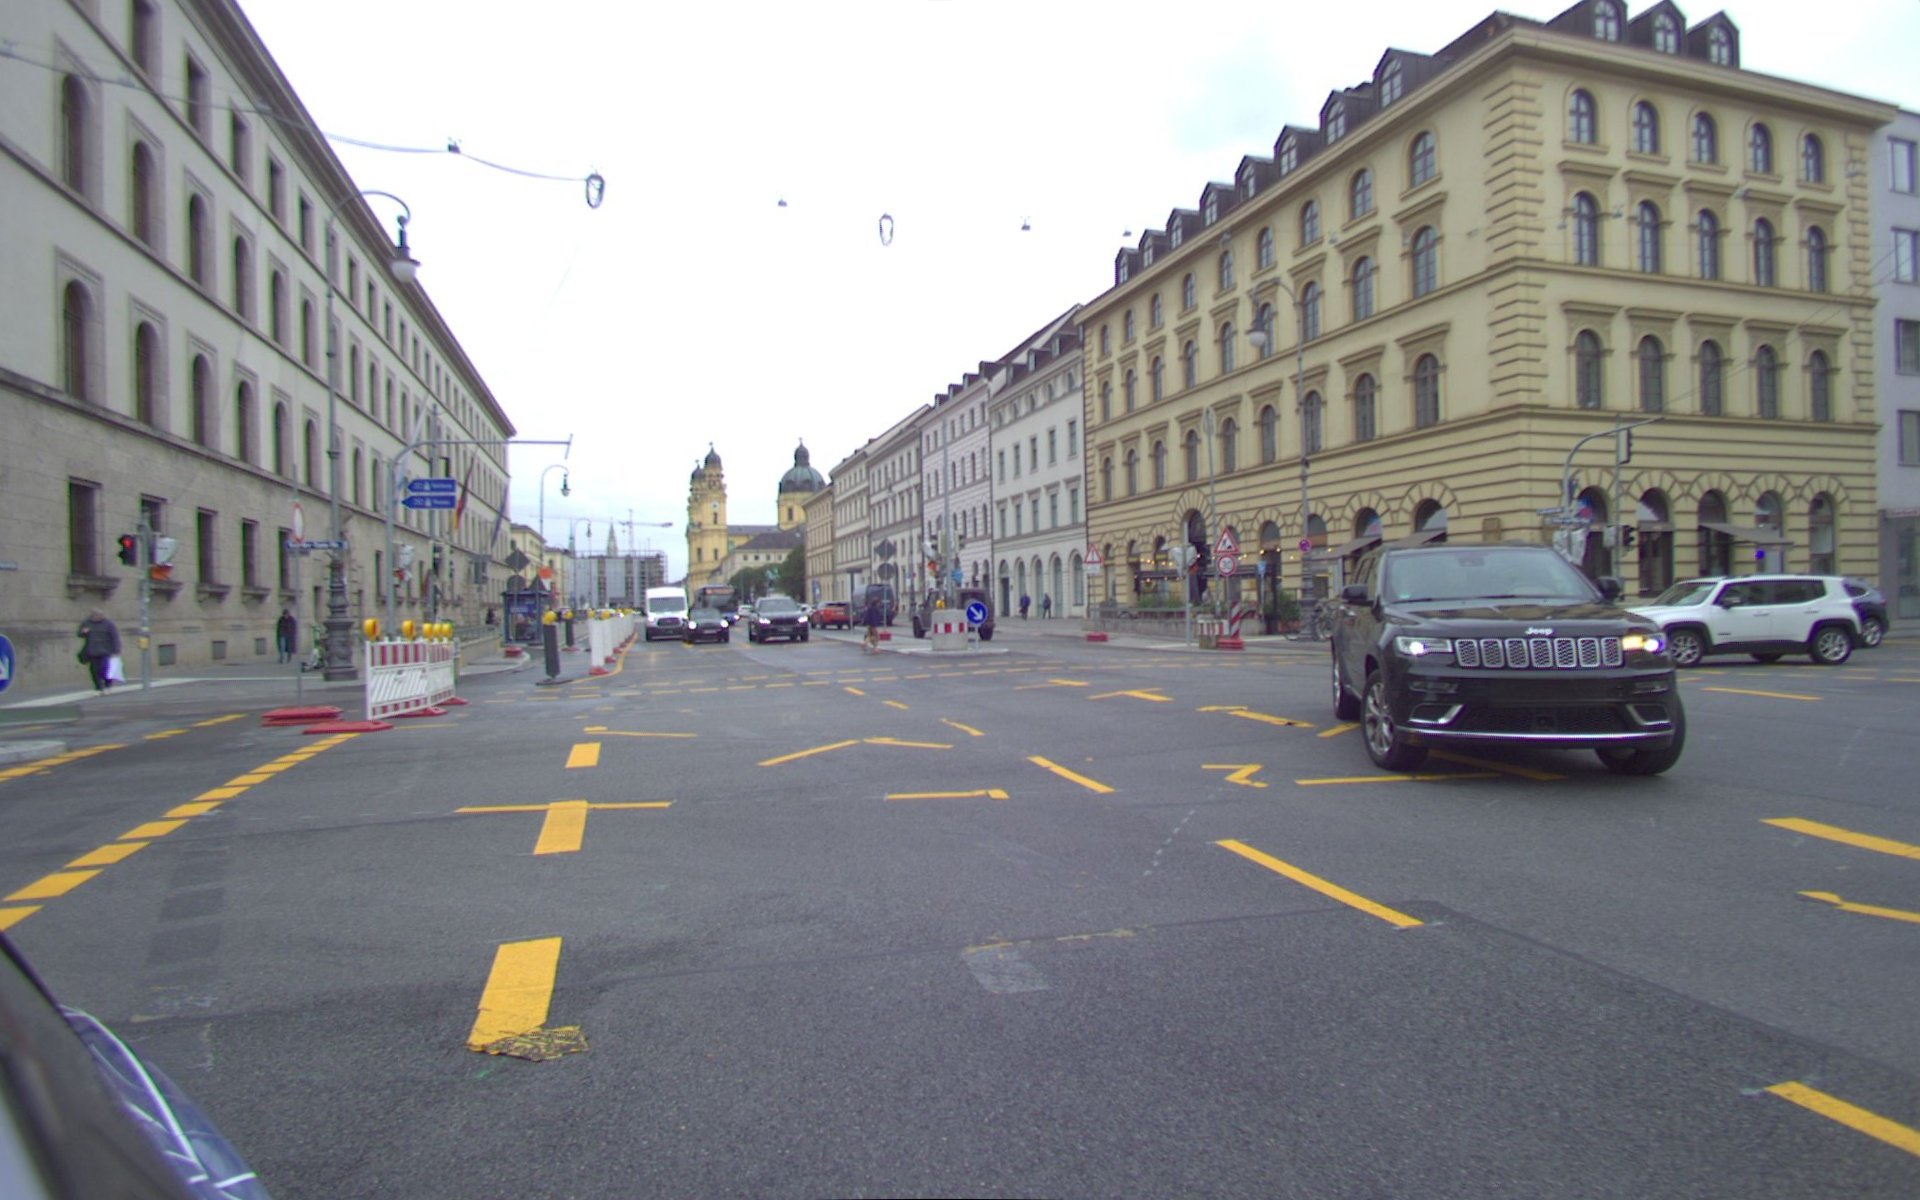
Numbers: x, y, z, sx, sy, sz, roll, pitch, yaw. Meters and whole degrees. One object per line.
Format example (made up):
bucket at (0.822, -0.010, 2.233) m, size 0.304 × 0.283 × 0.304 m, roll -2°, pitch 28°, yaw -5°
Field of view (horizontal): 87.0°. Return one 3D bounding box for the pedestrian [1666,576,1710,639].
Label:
pedestrian at (21.016, 0.202, 29.237) m, size 0.727 × 1.785 × 0.738 m, roll -1°, pitch 1°, yaw 6°

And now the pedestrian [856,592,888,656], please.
pedestrian at (-2.524, 0.685, 28.959) m, size 0.723 × 1.785 × 0.741 m, roll -2°, pitch 1°, yaw -18°

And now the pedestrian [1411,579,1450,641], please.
pedestrian at (13.910, 0.289, 29.906) m, size 0.726 × 1.785 × 0.738 m, roll -2°, pitch 1°, yaw -28°

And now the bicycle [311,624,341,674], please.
bicycle at (-17.352, 1.308, 27.721) m, size 0.375 × 1.252 × 1.996 m, roll -2°, pitch 1°, yaw -24°

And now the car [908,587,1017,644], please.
car at (0.035, 0.593, 38.913) m, size 2.207 × 2.029 × 4.463 m, roll -2°, pitch 0°, yaw -30°

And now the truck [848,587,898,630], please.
truck at (-5.877, 0.561, 67.837) m, size 2.184 × 2.683 × 4.798 m, roll -1°, pitch 0°, yaw -18°

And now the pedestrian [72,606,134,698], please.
pedestrian at (-16.081, 0.960, 19.006) m, size 0.726 × 1.667 × 0.729 m, roll 2°, pitch -1°, yaw -31°

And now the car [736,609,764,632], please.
car at (-17.374, 1.639, 83.625) m, size 1.836 × 1.812 × 3.764 m, roll -1°, pitch 0°, yaw -18°

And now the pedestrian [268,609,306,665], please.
pedestrian at (-20.379, 1.105, 30.644) m, size 0.726 × 1.667 × 0.729 m, roll 1°, pitch -1°, yaw -16°

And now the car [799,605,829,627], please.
car at (-12.258, 1.333, 84.971) m, size 1.792 × 1.733 × 4.012 m, roll -2°, pitch 0°, yaw -18°

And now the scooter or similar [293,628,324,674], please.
scooter or similar at (-17.739, 1.367, 27.585) m, size 0.375 × 1.153 × 1.996 m, roll -2°, pitch 1°, yaw -24°

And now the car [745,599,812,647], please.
car at (-7.145, 0.864, 39.548) m, size 1.966 × 1.696 × 4.012 m, roll -2°, pitch 0°, yaw -18°

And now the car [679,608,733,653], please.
car at (-10.545, 1.208, 41.786) m, size 1.770 × 1.606 × 4.013 m, roll -2°, pitch 1°, yaw -19°

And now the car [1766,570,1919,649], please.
car at (21.351, 0.177, 23.185) m, size 4.178 × 1.690 × 1.738 m, roll -2°, pitch 0°, yaw 4°

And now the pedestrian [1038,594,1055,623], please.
pedestrian at (5.368, 0.501, 62.757) m, size 0.726 × 1.785 × 0.738 m, roll -1°, pitch 0°, yaw -18°

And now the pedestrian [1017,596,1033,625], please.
pedestrian at (4.092, 0.637, 63.859) m, size 0.726 × 1.785 × 0.738 m, roll -1°, pitch 0°, yaw -18°

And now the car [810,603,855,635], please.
car at (-7.308, 1.057, 57.680) m, size 1.792 × 1.733 × 4.012 m, roll -2°, pitch 0°, yaw -18°

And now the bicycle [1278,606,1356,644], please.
bicycle at (10.860, 0.745, 30.871) m, size 0.591 × 1.107 × 2.201 m, roll -1°, pitch 0°, yaw -42°

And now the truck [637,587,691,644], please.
truck at (-14.186, 0.701, 48.308) m, size 2.080 × 2.499 × 5.878 m, roll -2°, pitch 0°, yaw -19°

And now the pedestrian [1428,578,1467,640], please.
pedestrian at (14.573, 0.261, 30.250) m, size 0.726 × 1.785 × 0.738 m, roll -2°, pitch 1°, yaw -28°

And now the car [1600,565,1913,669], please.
car at (14.451, 0.304, 18.565) m, size 4.176 × 1.690 × 1.798 m, roll -2°, pitch 0°, yaw 3°

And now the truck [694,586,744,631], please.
truck at (-17.704, 0.559, 74.097) m, size 2.940 × 3.035 × 7.166 m, roll -2°, pitch 1°, yaw -18°

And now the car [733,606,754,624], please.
car at (-22.933, 1.564, 107.261) m, size 1.792 × 1.733 × 4.012 m, roll -2°, pitch 0°, yaw -17°

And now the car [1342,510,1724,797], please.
car at (4.441, 0.339, 8.676) m, size 1.985 × 1.747 × 4.556 m, roll -2°, pitch 0°, yaw 19°
